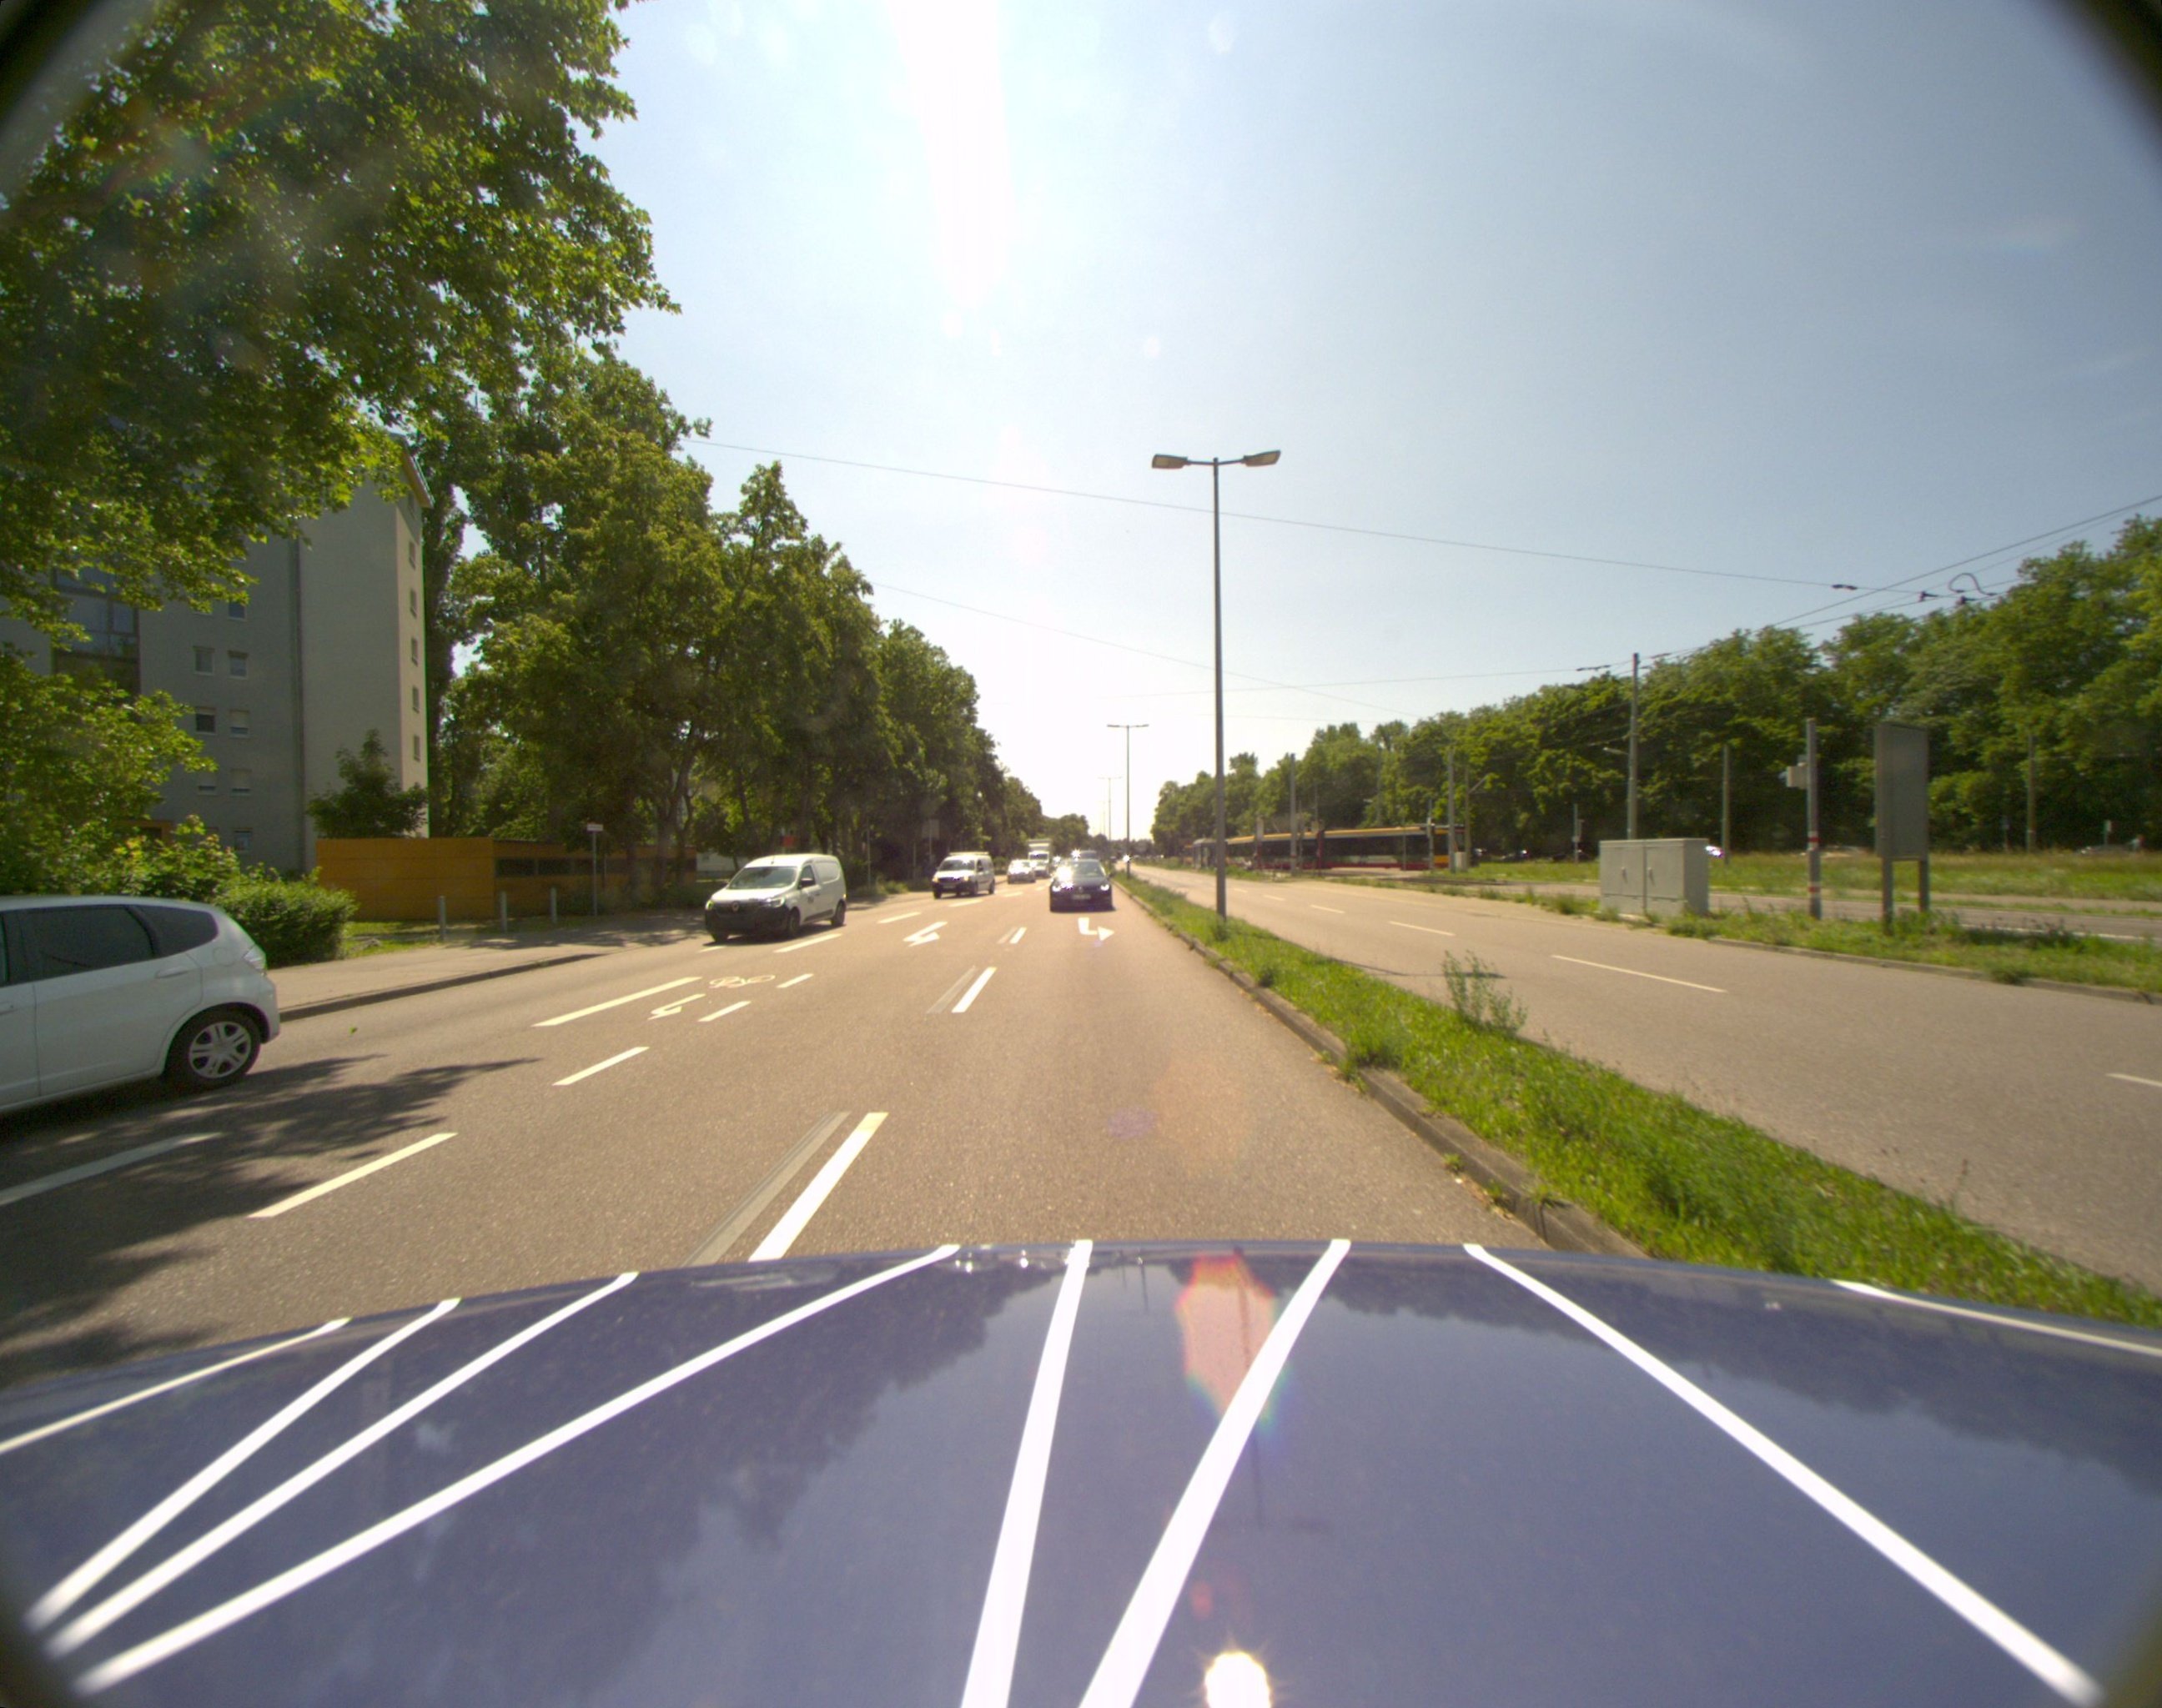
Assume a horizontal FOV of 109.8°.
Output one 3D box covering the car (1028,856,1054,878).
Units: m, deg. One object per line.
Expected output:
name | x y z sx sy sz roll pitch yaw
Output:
car | -2.985 0.978 57.729 1.618 1.373 4.113 -2 2 1

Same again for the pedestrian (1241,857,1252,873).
pedestrian | 12.329 0.827 56.585 0.582 1.182 0.536 -3 0 -5

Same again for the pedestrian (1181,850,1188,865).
pedestrian | 12.616 0.403 92.670 0.633 1.780 0.776 -3 0 -2

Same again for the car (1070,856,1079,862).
car | -1.649 1.289 186.977 1.745 1.382 3.888 -1 0 4

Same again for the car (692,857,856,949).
car | -6.728 0.974 17.231 1.713 1.737 4.428 -2 0 2

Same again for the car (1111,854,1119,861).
car | 7.663 0.760 170.859 1.773 1.496 3.720 -1 0 1

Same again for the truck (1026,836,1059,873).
truck | -3.517 0.043 70.862 2.490 3.276 6.605 -1 0 2

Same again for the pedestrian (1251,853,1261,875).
pedestrian | 12.701 0.719 55.191 0.536 1.556 0.582 -3 0 -1

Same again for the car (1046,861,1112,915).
car | -0.023 0.945 22.535 1.746 1.382 3.887 -2 0 1

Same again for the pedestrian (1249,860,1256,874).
pedestrian | 12.581 0.944 55.725 0.384 1.052 0.377 -3 0 -2

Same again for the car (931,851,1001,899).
car | -4.857 0.843 32.859 1.809 1.845 5.084 -2 0 5

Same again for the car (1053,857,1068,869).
car | -2.641 1.173 99.047 1.618 1.373 4.115 -2 0 1

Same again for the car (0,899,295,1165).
car | -7.298 1.143 4.257 1.725 1.479 3.877 -2 0 -1

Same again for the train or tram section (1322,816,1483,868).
train or tram section | 24.722 -0.760 59.598 3.057 3.603 12.426 -3 0 -27

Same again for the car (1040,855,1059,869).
car | -3.409 0.867 82.924 1.746 1.382 3.887 -1 0 1

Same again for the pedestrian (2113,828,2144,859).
pedestrian | 53.651 -0.530 38.910 0.788 1.565 0.692 -2 1 44

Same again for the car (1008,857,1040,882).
car | -3.630 0.972 49.152 1.626 1.433 3.499 -2 0 2

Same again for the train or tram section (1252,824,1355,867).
train or tram section | 20.262 -0.654 70.496 3.055 3.603 12.436 -3 0 -15

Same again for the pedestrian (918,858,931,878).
pedestrian | -11.251 1.027 54.510 0.710 1.390 0.763 -2 0 1

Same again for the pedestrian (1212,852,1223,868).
pedestrian | 12.735 0.553 70.965 0.837 1.499 0.879 -3 0 -2

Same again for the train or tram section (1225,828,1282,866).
train or tram section | 18.518 -0.678 82.753 3.051 3.603 13.897 -2 0 0

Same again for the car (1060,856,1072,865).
car | -2.305 0.964 118.896 1.746 1.382 3.887 -1 0 1

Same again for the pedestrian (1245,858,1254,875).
pedestrian | 12.432 0.931 56.123 0.495 1.182 0.400 -3 0 -4

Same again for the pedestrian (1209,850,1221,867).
pedestrian | 12.691 0.439 72.061 0.933 1.537 0.985 -3 0 -2

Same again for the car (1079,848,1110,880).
car | 0.817 0.603 46.676 1.746 1.840 3.887 -1 0 1

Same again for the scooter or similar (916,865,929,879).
scooter or similar | -11.263 1.278 54.098 0.710 0.888 0.763 -2 0 1

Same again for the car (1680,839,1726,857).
car | 58.048 -0.530 70.931 1.389 1.586 3.069 -3 0 -13

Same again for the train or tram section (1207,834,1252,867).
train or tram section | 18.664 -0.364 96.316 3.051 3.745 13.261 -2 0 0
